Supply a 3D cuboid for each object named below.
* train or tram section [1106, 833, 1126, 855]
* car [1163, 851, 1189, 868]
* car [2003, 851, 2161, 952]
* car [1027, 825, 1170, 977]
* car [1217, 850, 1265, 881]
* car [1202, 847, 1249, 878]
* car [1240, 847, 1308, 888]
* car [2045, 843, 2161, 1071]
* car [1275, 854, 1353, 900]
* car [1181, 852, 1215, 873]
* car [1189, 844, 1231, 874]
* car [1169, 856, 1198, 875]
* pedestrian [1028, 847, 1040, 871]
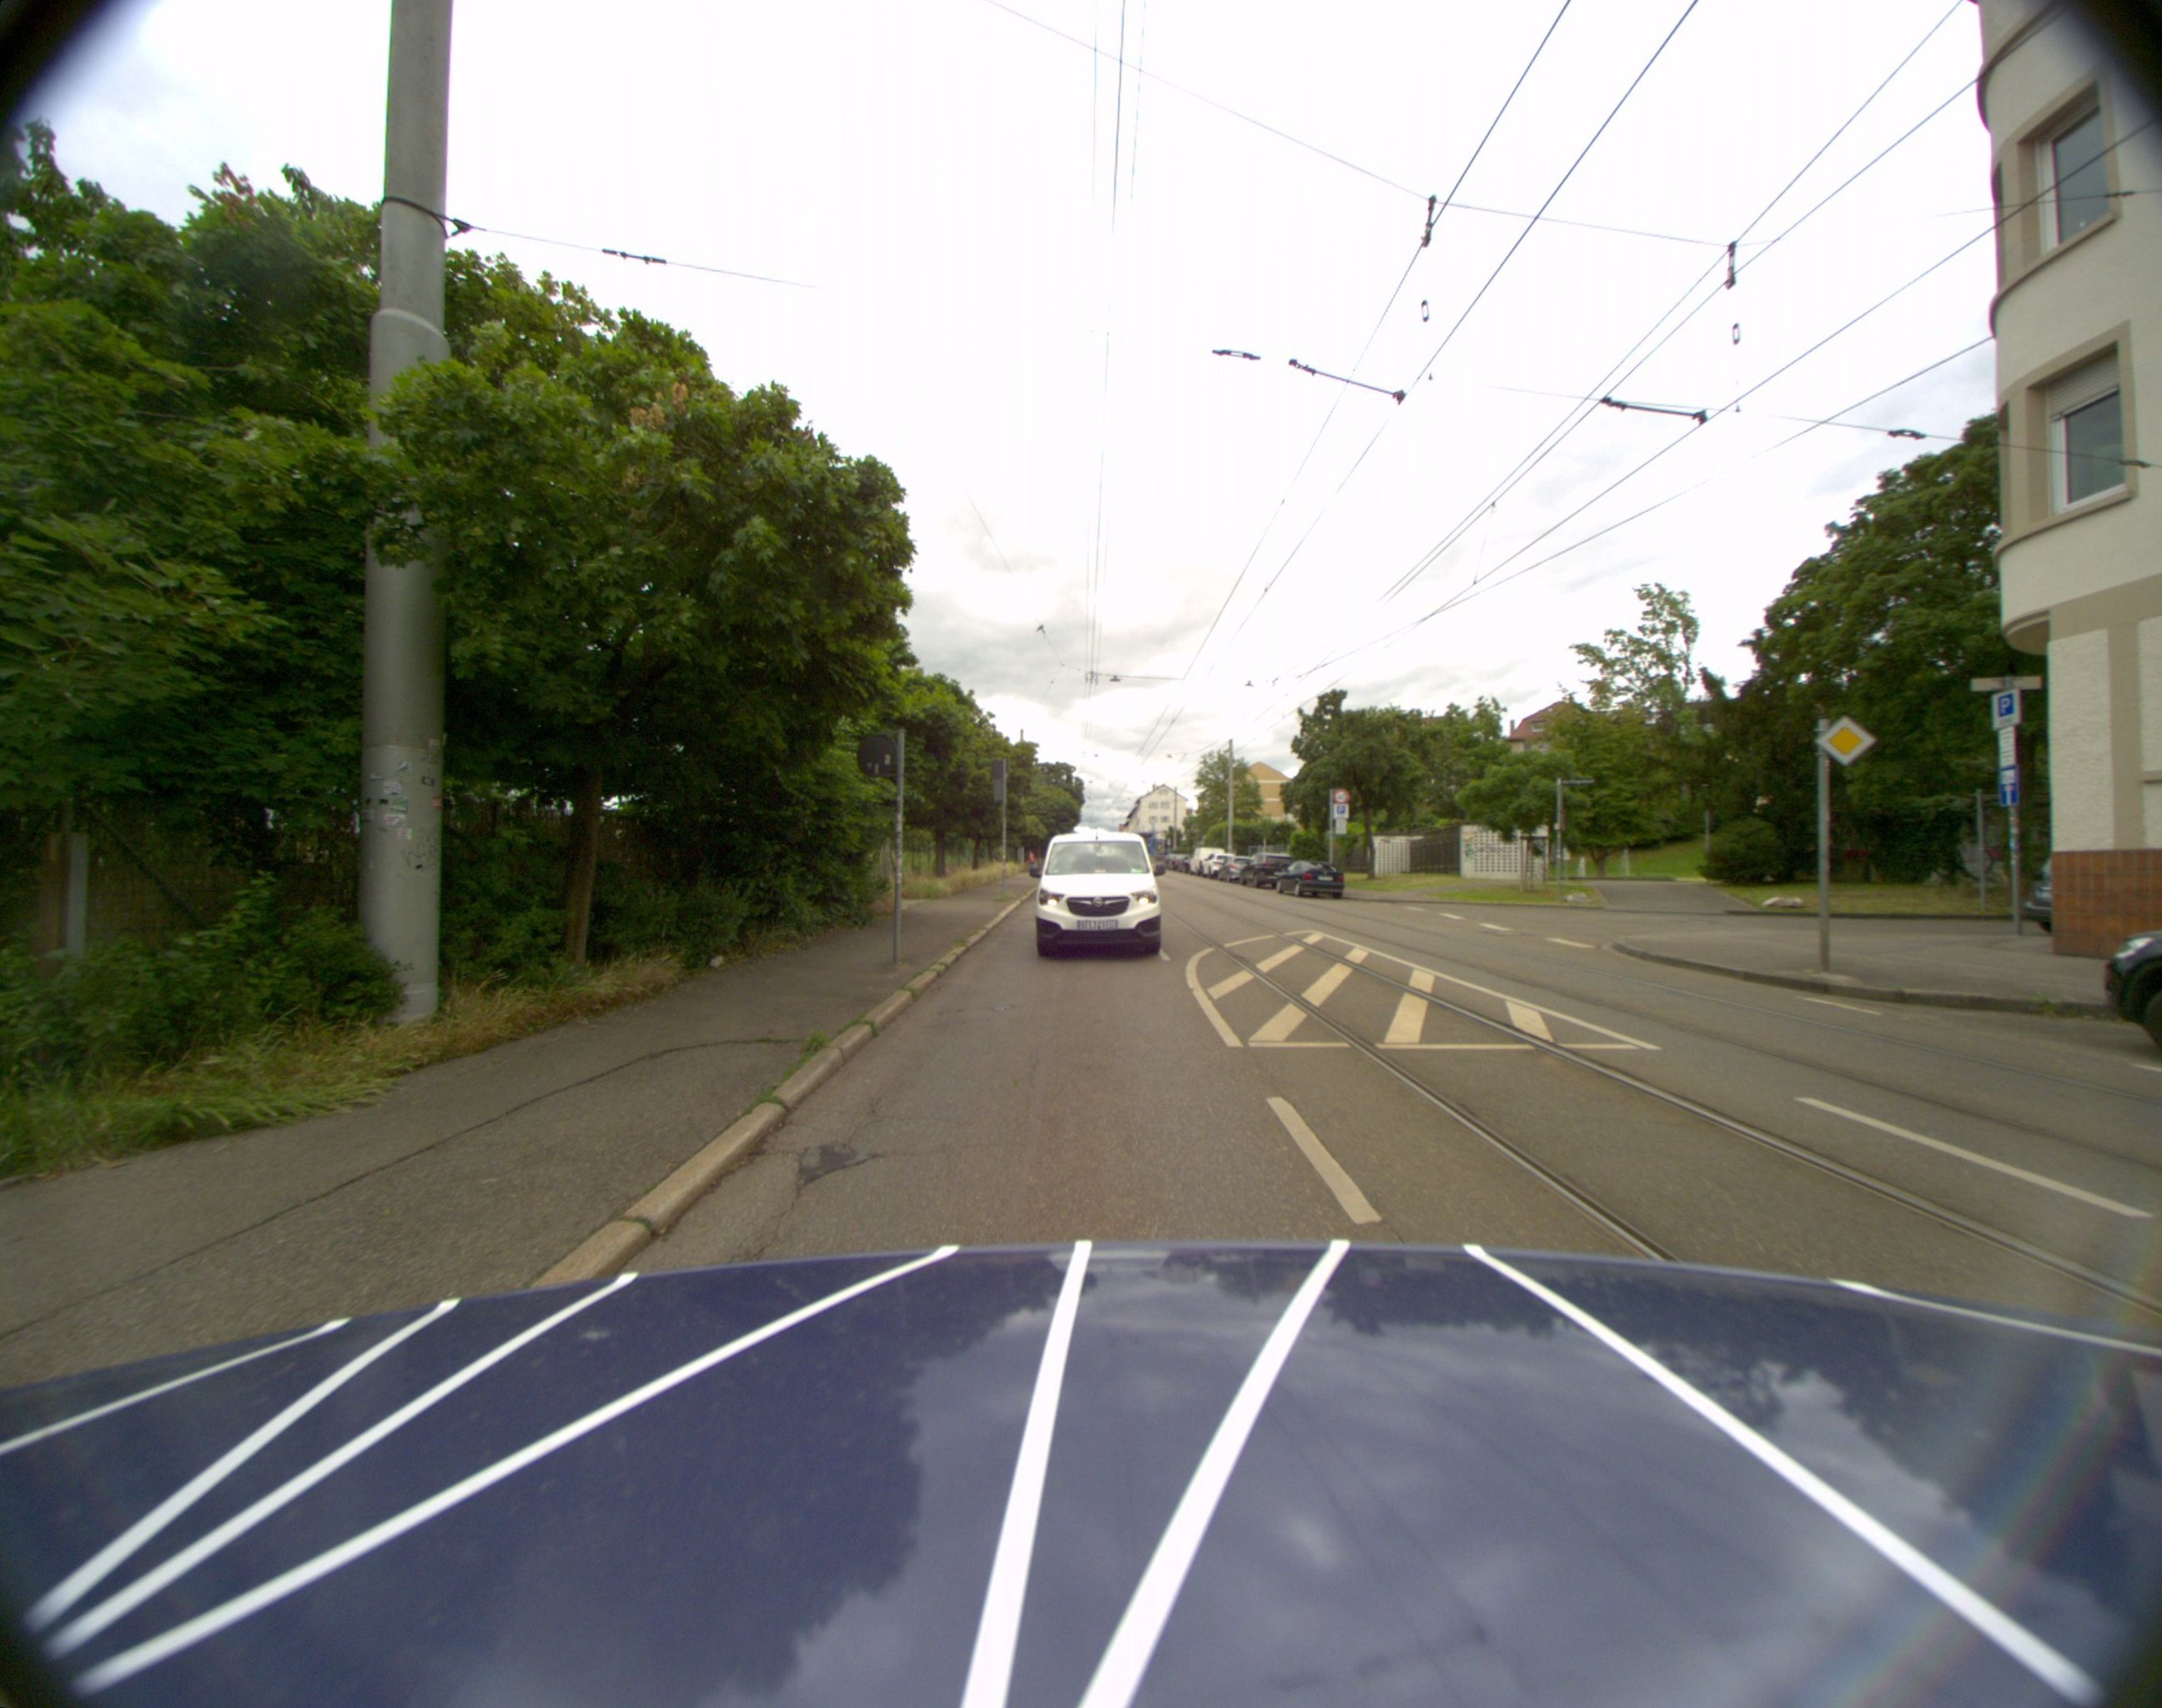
[{"bbox_3d":[6.036,-1.788,132.394,2.857,3.616,12.126,1,1,0],"label":"train or tram section"},{"bbox_3d":[8.884,0.471,71.243,1.794,1.396,4.159,1,2,-1],"label":"car"},{"bbox_3d":[18.432,0.771,12.310,3.989,1.563,1.880,1,1,27],"label":"car"},{"bbox_3d":[0.263,0.541,11.513,1.730,1.850,4.420,1,1,1],"label":"car"},{"bbox_3d":[8.810,0.575,42.132,1.743,1.500,3.867,1,2,-1],"label":"car"},{"bbox_3d":[8.956,0.470,47.534,1.974,1.677,4.631,1,2,-1],"label":"car"},{"bbox_3d":[9.003,0.581,35.881,1.974,1.677,4.442,1,2,-1],"label":"car"},{"bbox_3d":[8.800,0.825,3.940,1.872,1.637,4.400,1,2,-1],"label":"car"},{"bbox_3d":[8.889,0.832,29.319,1.625,1.469,4.154,1,2,-1],"label":"car"},{"bbox_3d":[9.004,0.612,58.879,1.845,1.379,4.516,1,2,-1],"label":"car"},{"bbox_3d":[9.006,0.299,53.396,1.974,1.902,4.733,1,2,-1],"label":"car"},{"bbox_3d":[8.772,0.925,65.494,1.845,1.379,4.438,1,2,-1],"label":"car"},{"bbox_3d":[-3.180,0.309,51.459,0.716,1.611,0.718,1,2,0],"label":"pedestrian"}]
